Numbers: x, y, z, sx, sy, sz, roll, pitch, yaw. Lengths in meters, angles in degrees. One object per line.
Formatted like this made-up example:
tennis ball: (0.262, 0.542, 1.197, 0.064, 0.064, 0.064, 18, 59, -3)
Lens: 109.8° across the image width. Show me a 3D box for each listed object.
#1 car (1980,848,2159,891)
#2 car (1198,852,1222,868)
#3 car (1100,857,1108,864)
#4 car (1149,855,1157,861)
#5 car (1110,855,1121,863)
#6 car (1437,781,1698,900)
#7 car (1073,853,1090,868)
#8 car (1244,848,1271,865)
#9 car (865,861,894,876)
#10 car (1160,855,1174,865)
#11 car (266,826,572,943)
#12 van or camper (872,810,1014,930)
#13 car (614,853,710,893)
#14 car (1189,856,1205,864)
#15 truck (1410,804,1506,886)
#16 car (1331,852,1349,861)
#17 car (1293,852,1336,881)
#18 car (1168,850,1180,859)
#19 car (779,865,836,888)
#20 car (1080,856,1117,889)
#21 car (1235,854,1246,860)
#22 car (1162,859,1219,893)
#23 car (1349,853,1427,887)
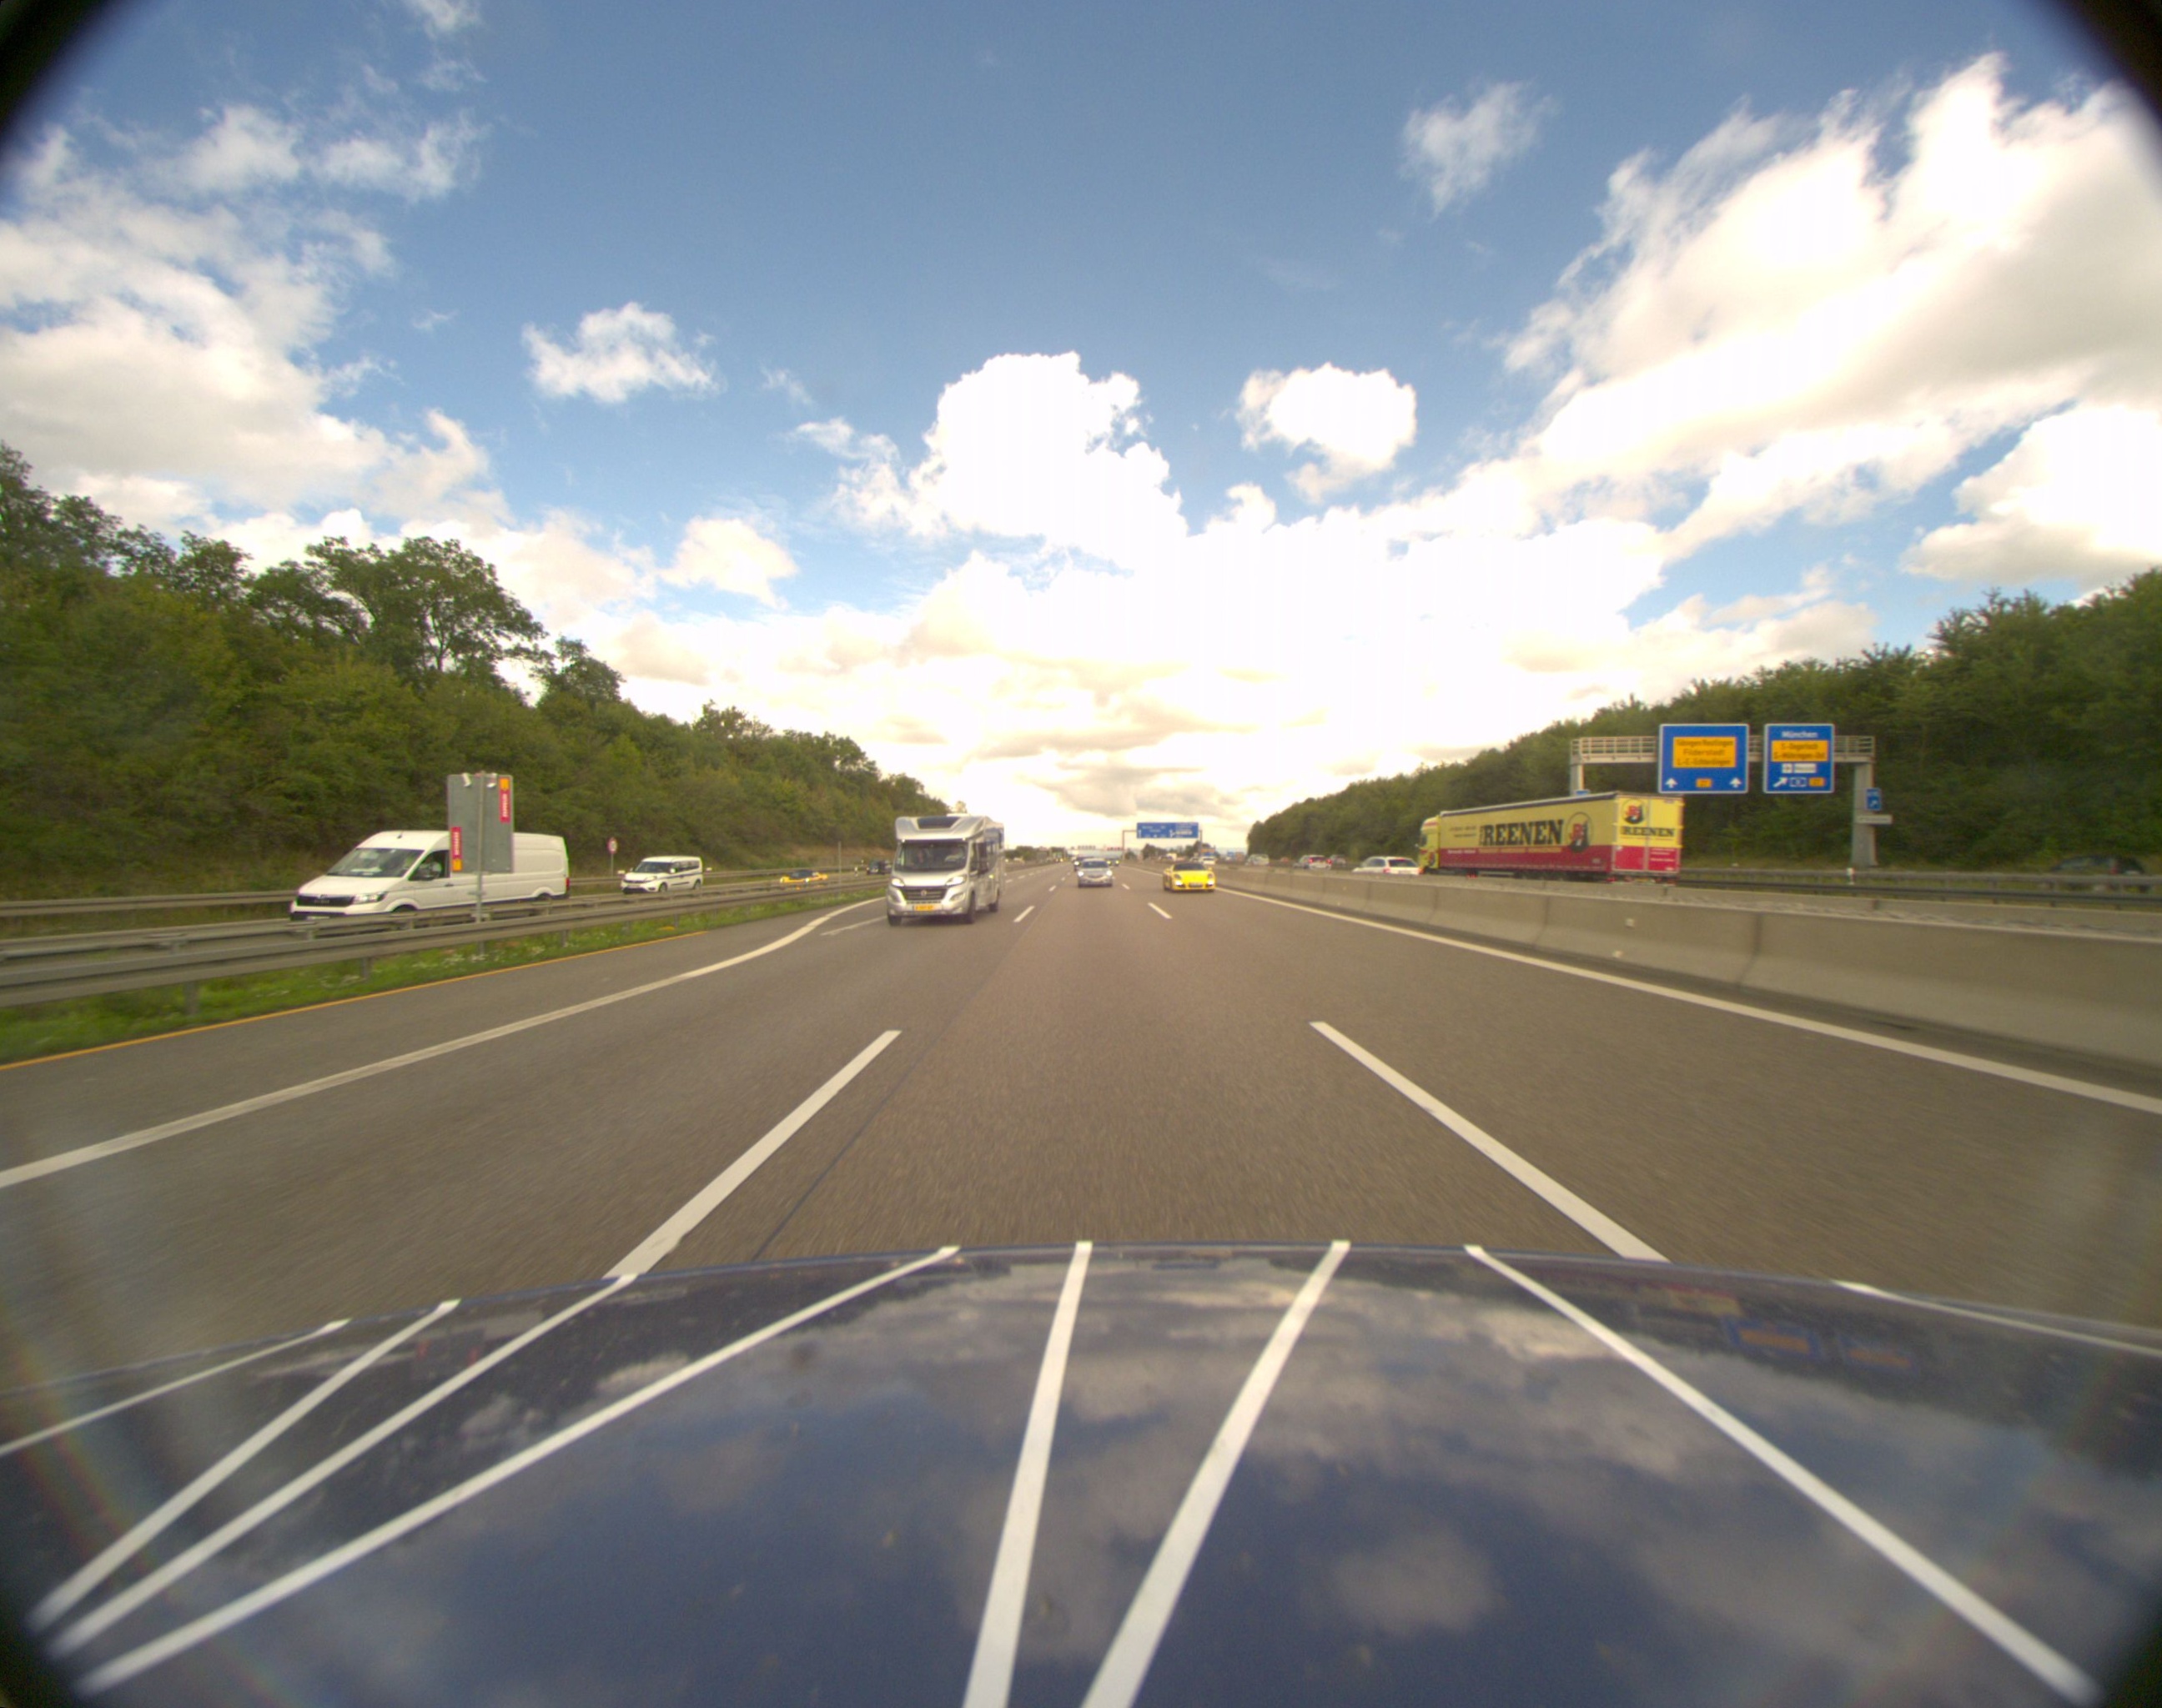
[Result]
car: (41.421, 0.599, 32.037, 1.851, 1.652, 4.419, 0, 0, 1)
car: (13.416, 0.560, 79.455, 1.780, 1.563, 4.180, -2, 0, 1)
car: (6.404, 1.771, 210.058, 1.998, 2.002, 4.589, 0, 0, 1)
car: (18.833, 1.002, 198.163, 1.741, 1.502, 4.051, -1, 0, 0)
car: (5.491, 0.754, 122.517, 1.593, 1.307, 3.978, 1, 0, 0)
car: (21.014, -0.481, 34.712, 2.913, 4.300, 14.145, 0, 0, 0)
car: (0.027, 0.689, 88.082, 1.876, 1.626, 4.859, -1, 0, 1)
car: (17.273, 0.203, 74.412, 1.598, 1.601, 4.463, -1, 0, 0)
car: (-20.166, 1.456, 76.204, 1.716, 1.407, 4.169, -1, 0, 1)
car: (14.133, 0.941, 125.552, 1.776, 1.601, 4.465, -1, 0, 0)
car: (-16.702, 0.666, 19.937, 2.075, 2.539, 6.743, 0, 0, 0)
van or camper: (-3.525, 0.362, 21.444, 2.475, 2.706, 7.661, -2, 0, 0)
car: (-19.958, 0.864, 36.439, 1.848, 1.741, 4.764, -2, 0, 1)
car: (17.921, 0.919, 117.692, 1.775, 1.287, 4.675, -1, 0, 0)
truck: (21.049, -0.479, 42.769, 2.904, 4.298, 5.161, 0, 0, 1)
car: (39.551, 0.364, 116.038, 1.469, 1.418, 3.760, 0, 0, 0)
car: (17.118, 0.857, 55.864, 1.757, 2.002, 4.553, -2, 0, 0)
car: (22.568, 0.100, 184.367, 2.170, 2.258, 6.460, -1, 0, 0)
car: (-15.806, 1.279, 44.115, 1.716, 1.175, 4.168, -2, 0, 0)
car: (0.823, 0.862, 37.850, 1.687, 1.476, 4.615, -1, 0, 0)
car: (35.997, 0.700, 171.926, 1.567, 1.357, 4.051, -1, 0, 0)
car: (4.616, 0.876, 32.468, 1.811, 1.307, 4.247, 1, 0, 0)
car: (13.400, 0.639, 33.446, 1.670, 1.393, 4.534, 0, 0, 1)
